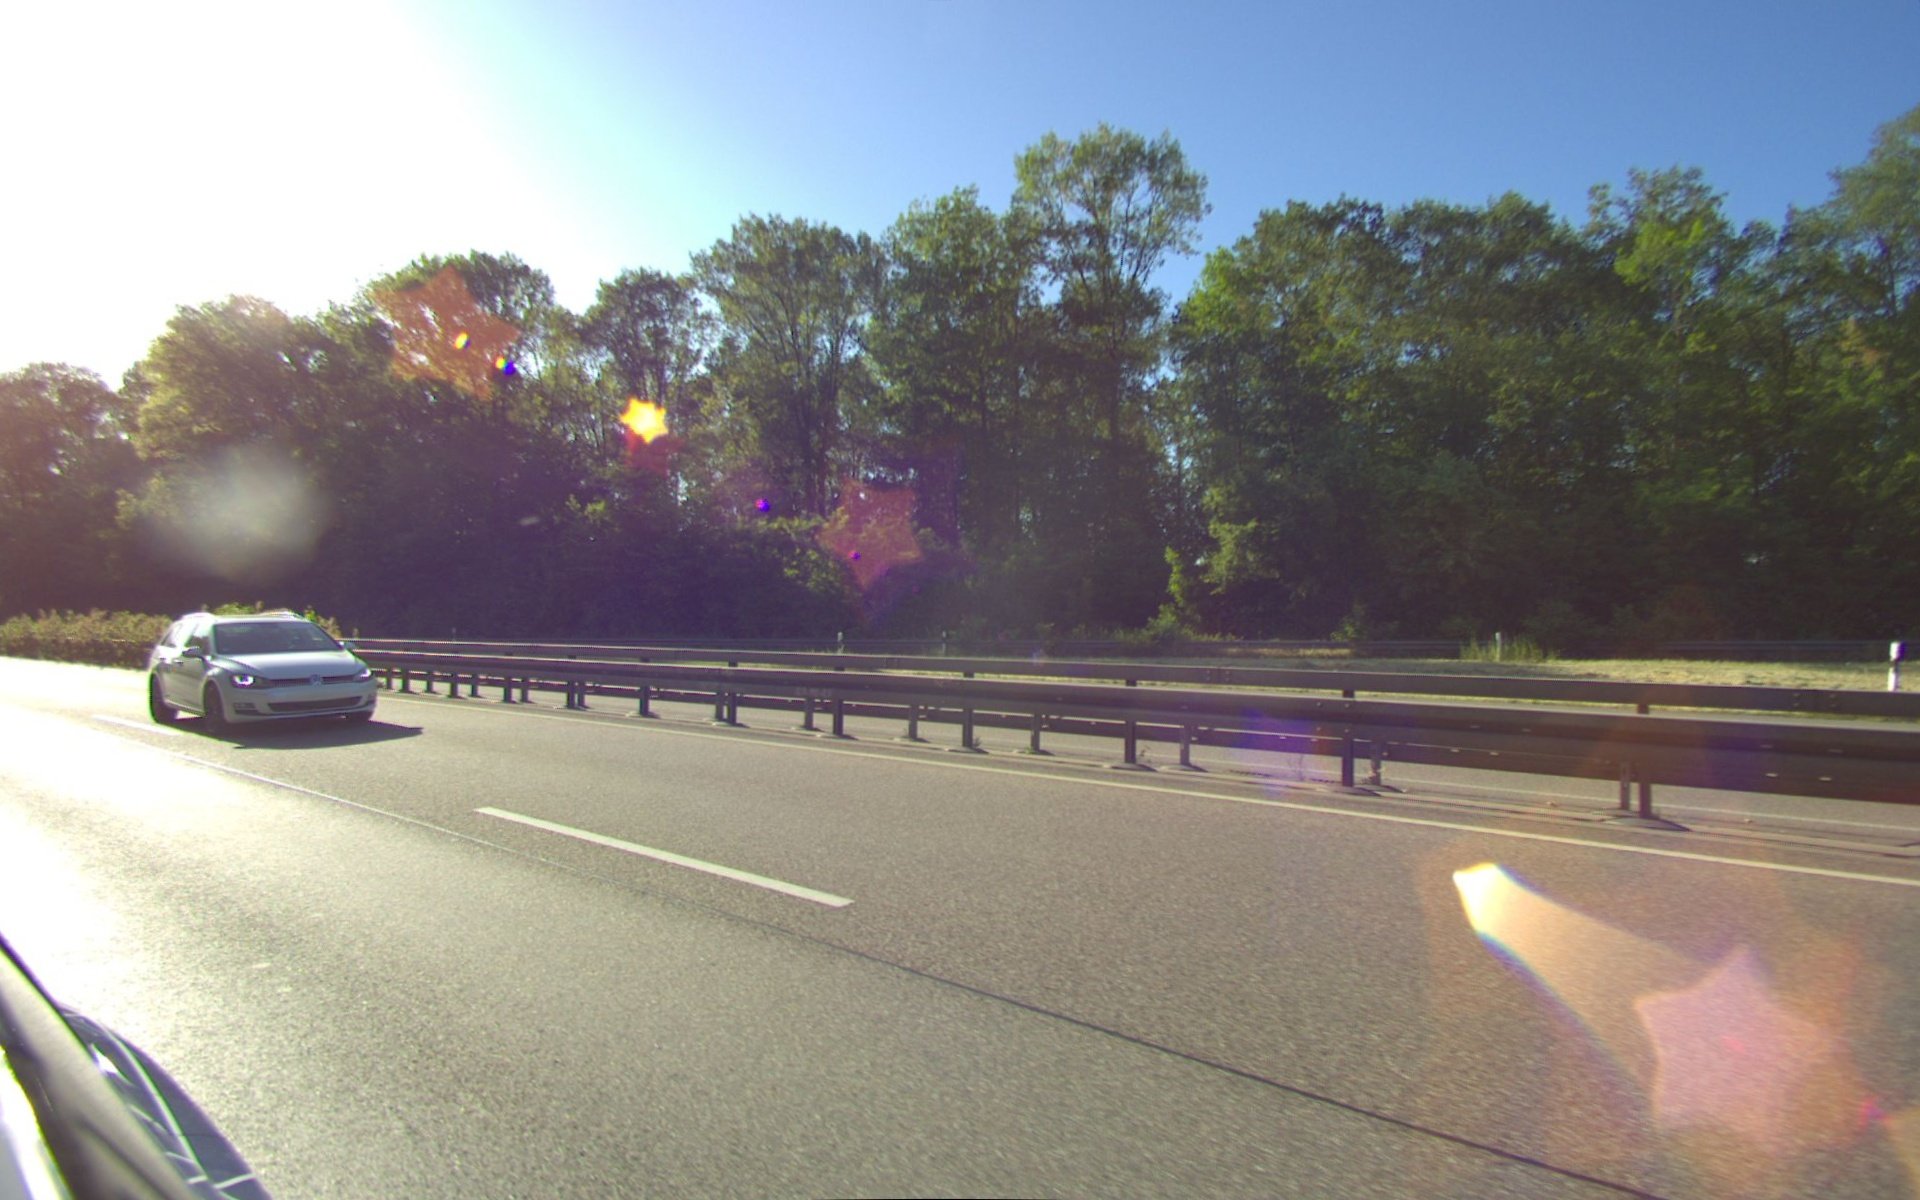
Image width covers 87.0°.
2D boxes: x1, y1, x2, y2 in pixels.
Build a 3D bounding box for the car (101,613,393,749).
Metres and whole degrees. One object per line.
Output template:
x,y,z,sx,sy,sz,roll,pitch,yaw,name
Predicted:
-10.038,0.988,14.028,5.593,1.519,1.910,-2,-1,39,car
